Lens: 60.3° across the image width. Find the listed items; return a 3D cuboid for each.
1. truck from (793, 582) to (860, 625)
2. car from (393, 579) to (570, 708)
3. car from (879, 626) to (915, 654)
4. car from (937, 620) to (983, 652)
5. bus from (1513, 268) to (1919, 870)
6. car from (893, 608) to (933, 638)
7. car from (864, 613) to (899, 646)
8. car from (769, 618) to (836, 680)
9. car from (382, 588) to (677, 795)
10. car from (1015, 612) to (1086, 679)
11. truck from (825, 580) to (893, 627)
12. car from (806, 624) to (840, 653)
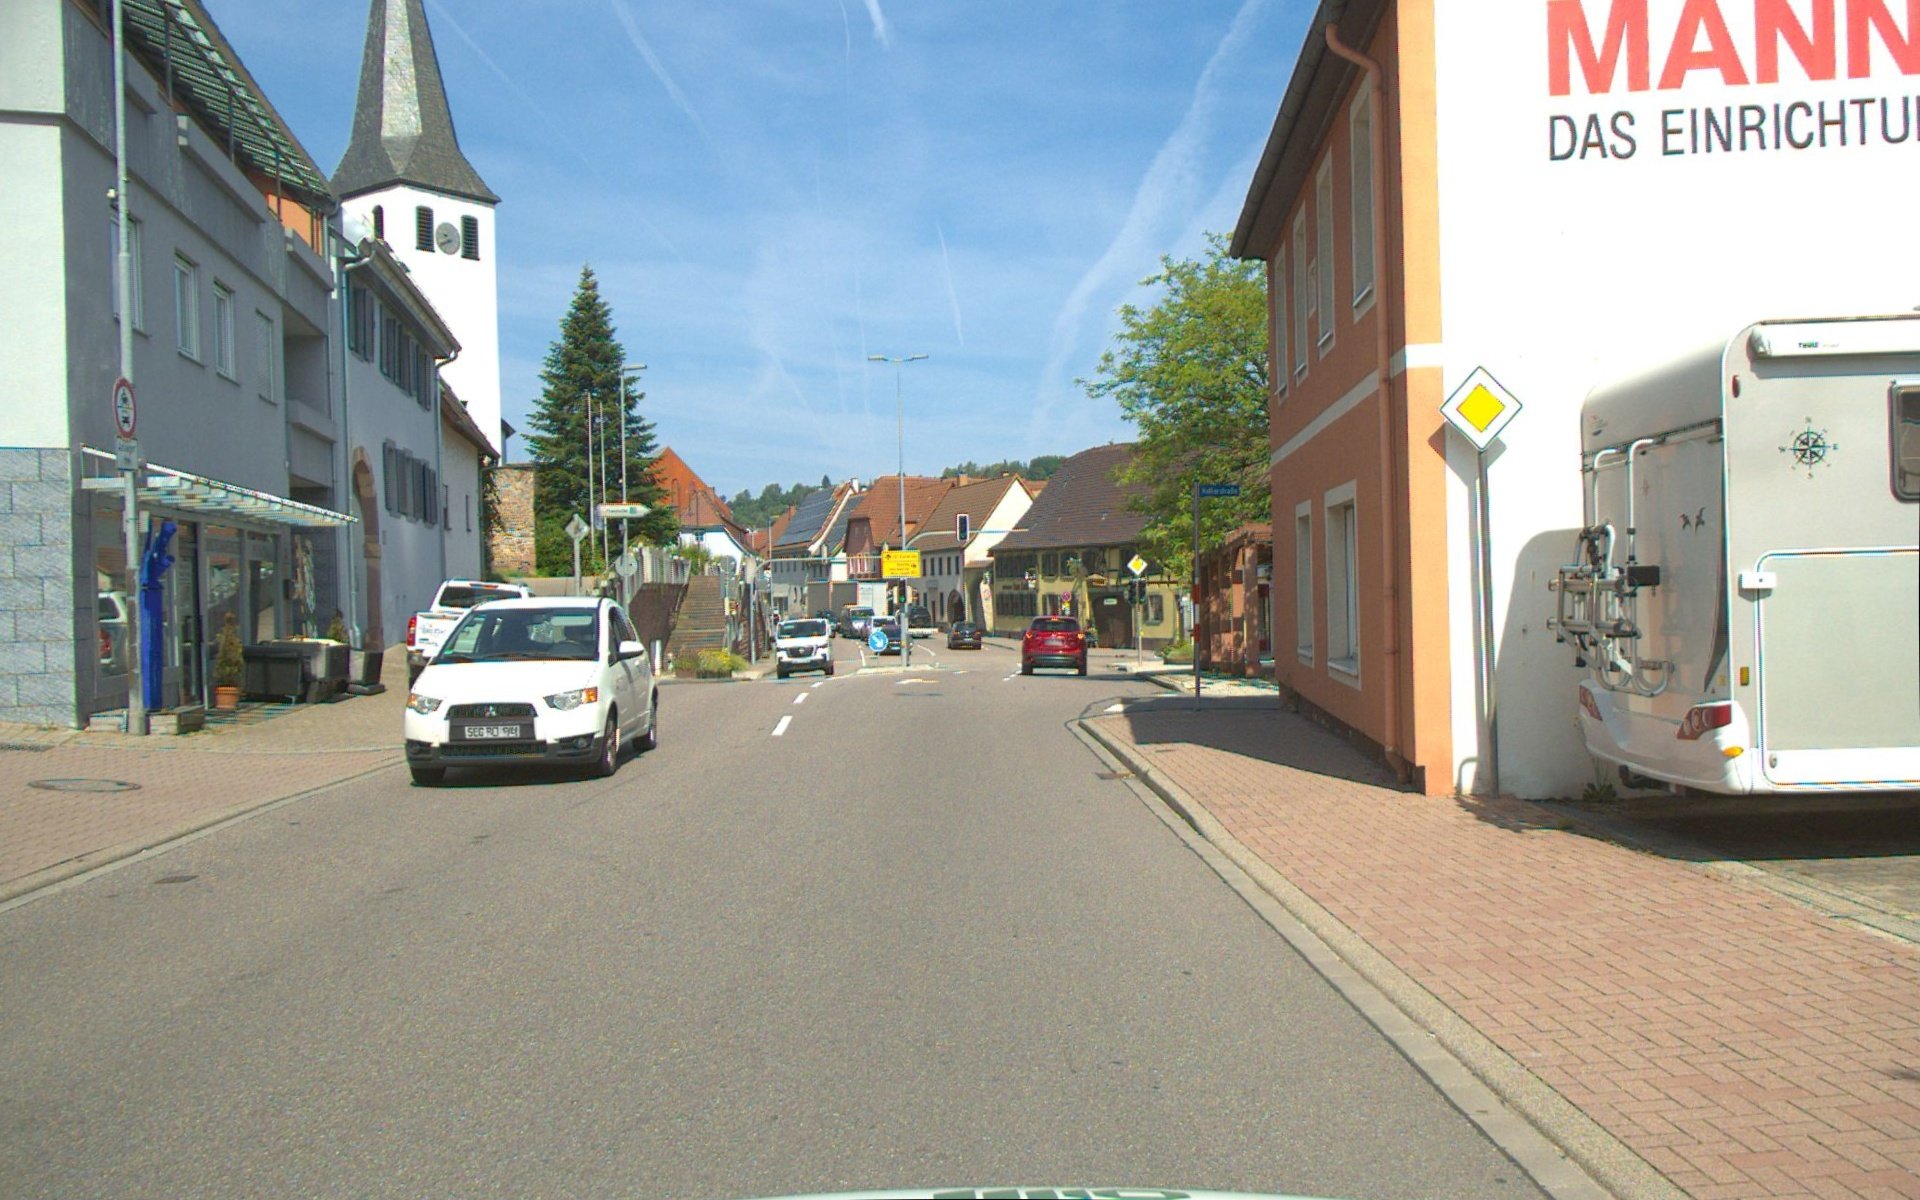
[{"bbox_3d":[-11.725,0.373,144.090,3.113,3.521,10.648,1,-1,-20],"label":"truck"},{"bbox_3d":[-7.665,0.641,27.013,1.770,1.829,5.279,2,0,-6],"label":"car"},{"bbox_3d":[-3.547,2.251,93.229,1.783,1.459,4.249,-1,0,1],"label":"car"},{"bbox_3d":[-0.005,2.164,100.410,1.791,1.769,3.989,-2,0,-15],"label":"car"},{"bbox_3d":[6.755,-0.264,9.309,6.429,2.956,2.230,-3,-1,3],"label":"bus"},{"bbox_3d":[-3.423,1.642,118.906,1.817,2.049,3.980,1,-1,-18],"label":"car"},{"bbox_3d":[-5.046,1.868,105.702,1.786,1.939,4.955,-1,0,-8],"label":"car"},{"bbox_3d":[-5.431,1.659,57.539,1.929,1.966,5.312,-2,0,-2],"label":"car"},{"bbox_3d":[-3.717,0.712,14.933,1.694,1.569,3.811,-2,0,-1],"label":"car"},{"bbox_3d":[2.596,1.254,46.697,1.766,1.692,3.815,-2,0,6],"label":"car"},{"bbox_3d":[-8.326,0.306,134.731,3.175,3.611,9.179,1,-1,-19],"label":"truck"},{"bbox_3d":[-10.947,3.064,132.227,1.730,2.285,4.530,1,-1,-17],"label":"car"}]
